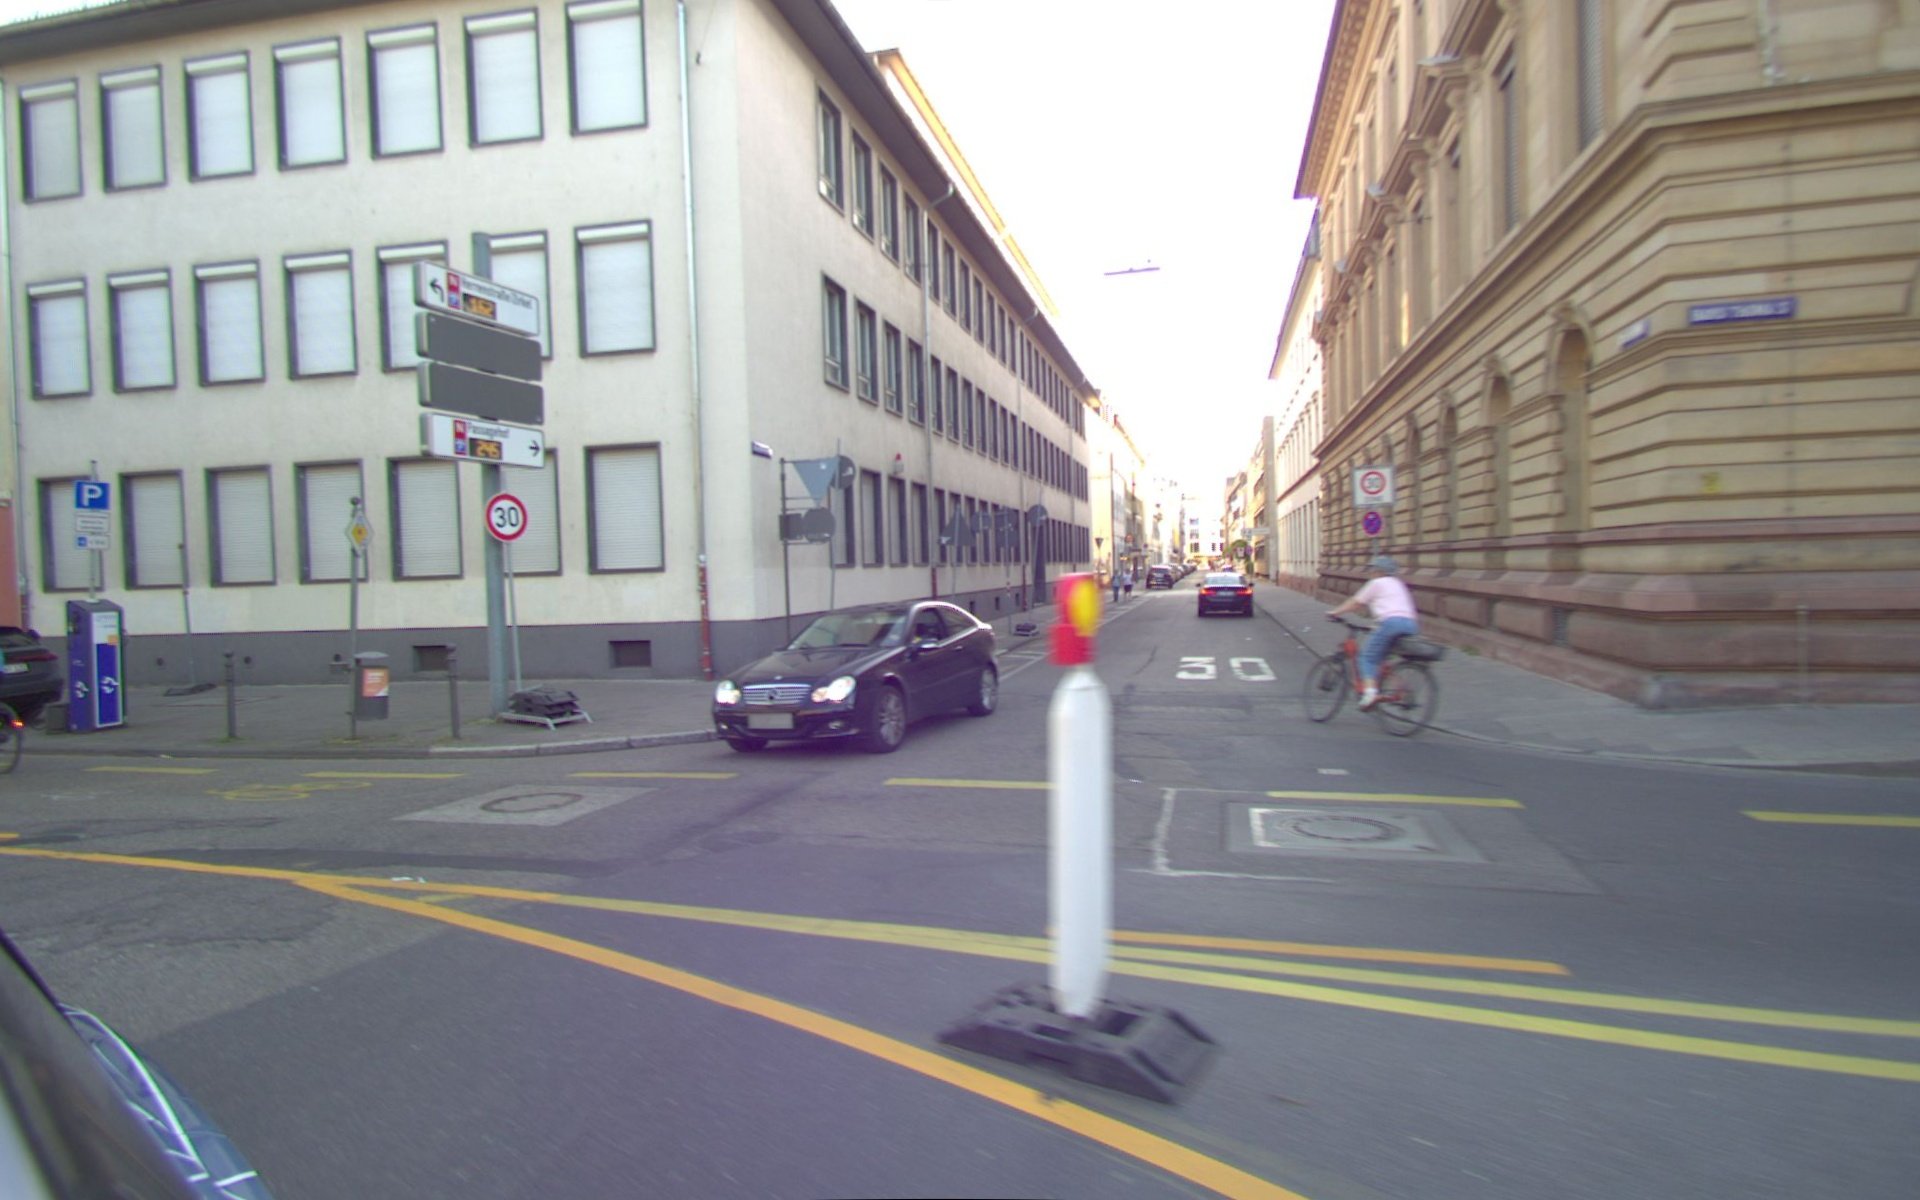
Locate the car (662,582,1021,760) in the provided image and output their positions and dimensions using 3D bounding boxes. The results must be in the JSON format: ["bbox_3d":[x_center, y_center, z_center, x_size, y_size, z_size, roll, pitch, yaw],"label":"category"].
[{"bbox_3d":[-0.928,0.563,10.801,1.754,1.332,4.742,-1,2,21],"label":"car"}]

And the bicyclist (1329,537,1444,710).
[{"bbox_3d":[4.136,0.206,9.836,0.633,1.589,0.766,-2,1,-26],"label":"bicyclist"}]

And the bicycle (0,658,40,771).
[{"bbox_3d":[-10.244,1.151,10.213,1.883,1.078,0.607,-1,0,20],"label":"bicycle"}]

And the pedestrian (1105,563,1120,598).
[{"bbox_3d":[8.016,-1.025,53.066,0.704,1.785,0.559,-2,1,13],"label":"pedestrian"}]

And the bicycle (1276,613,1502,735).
[{"bbox_3d":[4.119,0.662,9.932,0.628,0.999,2.133,-2,1,-26],"label":"bicycle"}]

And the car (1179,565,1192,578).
[{"bbox_3d":[34.074,-4.274,152.772,1.768,1.845,3.891,-2,1,15],"label":"car"}]

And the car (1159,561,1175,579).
[{"bbox_3d":[20.415,-2.938,99.839,1.430,1.632,3.462,-1,-1,14],"label":"car"}]

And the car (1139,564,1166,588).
[{"bbox_3d":[14.615,-1.815,76.851,1.768,1.696,3.981,-1,-1,14],"label":"car"}]

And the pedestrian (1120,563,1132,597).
[{"bbox_3d":[8.767,-1.066,53.470,0.551,1.794,0.642,-2,1,13],"label":"pedestrian"}]

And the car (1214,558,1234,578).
[{"bbox_3d":[28.319,-3.406,108.556,1.858,2.029,3.977,-1,-1,17],"label":"car"}]

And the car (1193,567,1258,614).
[{"bbox_3d":[9.127,-0.381,34.797,1.981,1.453,4.303,-2,1,15],"label":"car"}]

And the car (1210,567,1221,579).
[{"bbox_3d":[35.160,-3.722,139.508,1.430,1.475,3.385,-2,1,14],"label":"car"}]

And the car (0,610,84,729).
[{"bbox_3d":[-15.139,1.037,14.059,4.734,1.519,1.876,-2,3,10],"label":"car"}]

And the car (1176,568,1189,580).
[{"bbox_3d":[28.032,-3.251,127.331,1.430,1.475,3.463,-2,1,14],"label":"car"}]
